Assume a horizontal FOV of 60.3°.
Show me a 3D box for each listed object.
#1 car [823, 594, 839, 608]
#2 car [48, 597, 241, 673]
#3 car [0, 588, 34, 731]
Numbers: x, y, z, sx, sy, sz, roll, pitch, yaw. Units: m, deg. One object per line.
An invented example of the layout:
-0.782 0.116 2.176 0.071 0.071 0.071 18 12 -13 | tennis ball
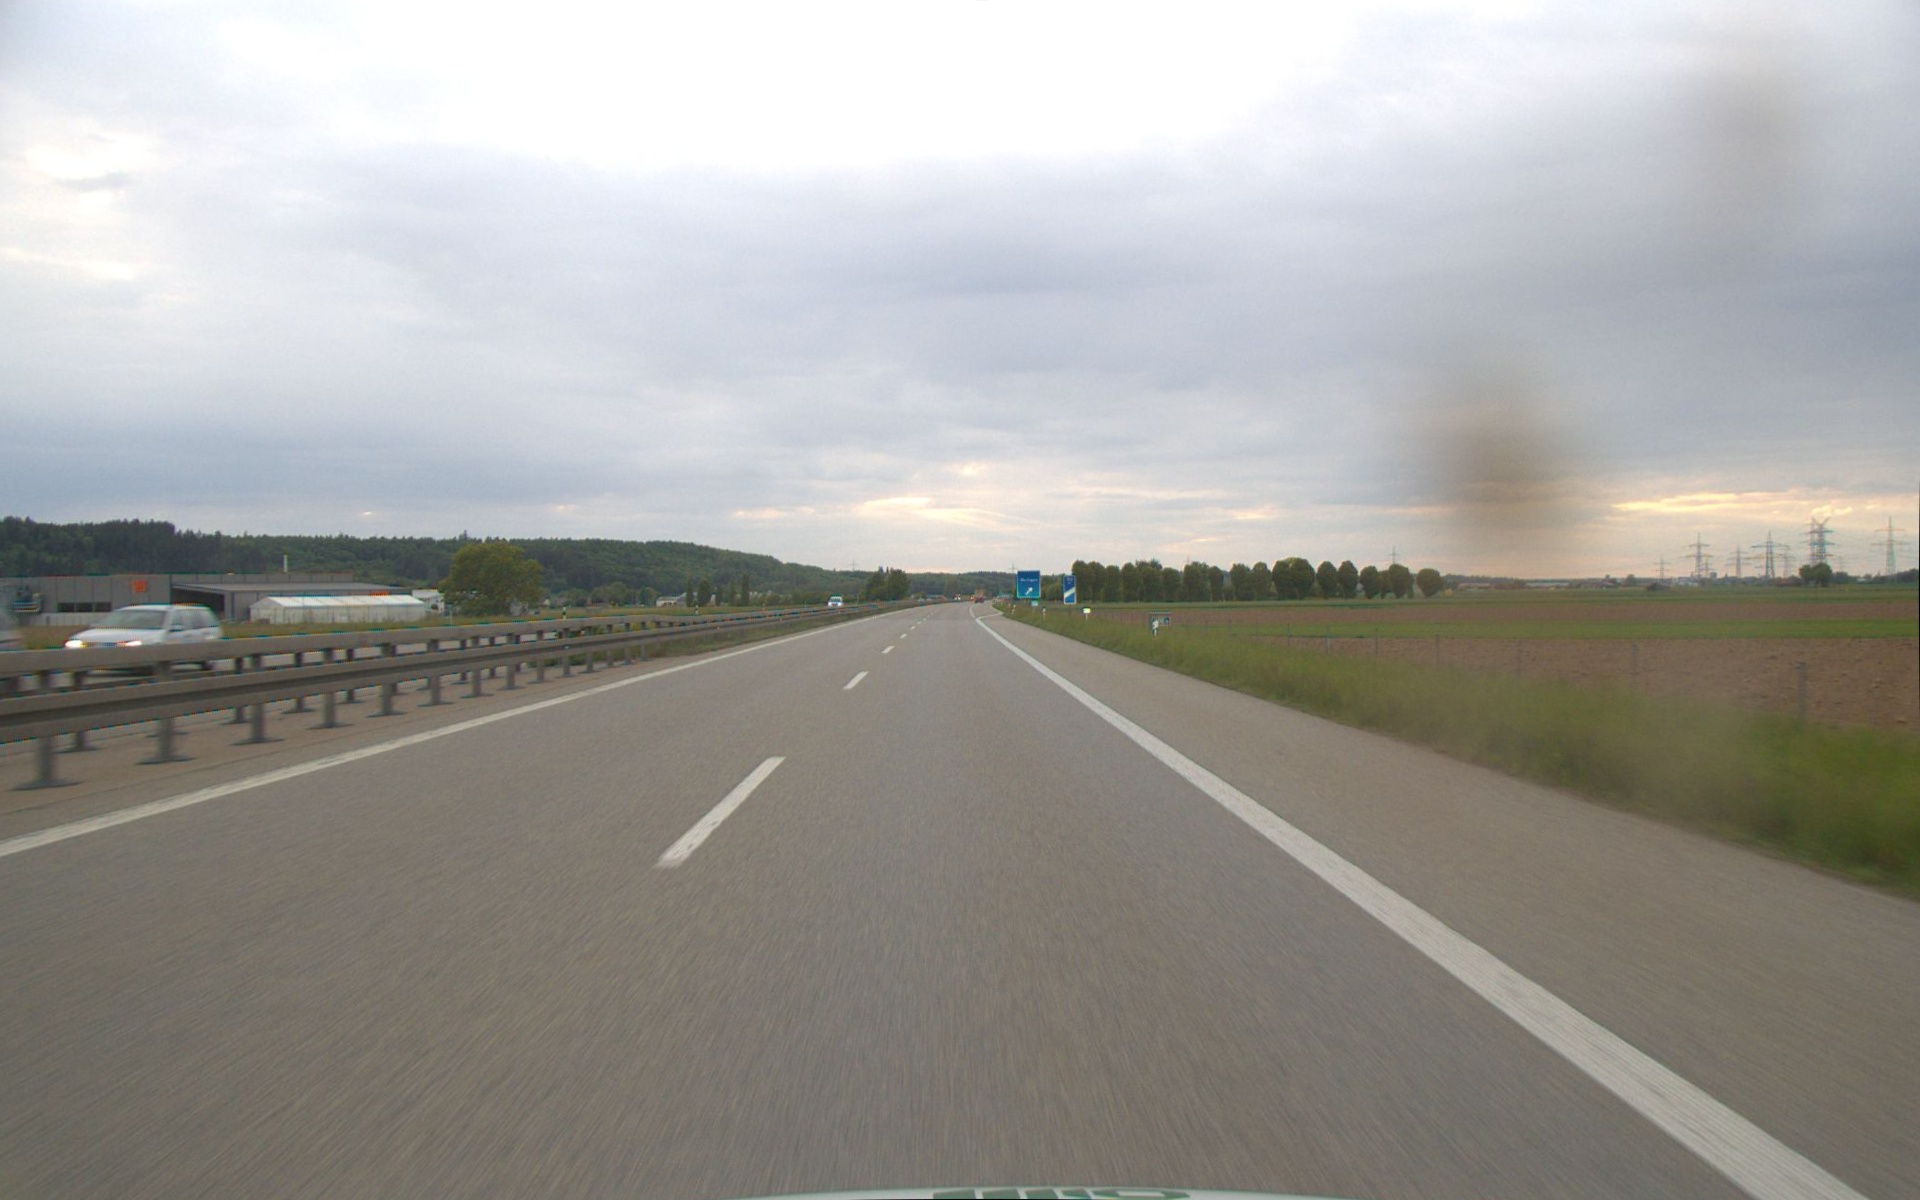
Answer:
-17.811 0.155 228.837 1.953 1.796 4.951 1 0 -1 | car
-17.552 0.706 35.892 1.953 1.522 4.761 0 0 -2 | car
-12.547 0.704 18.496 1.953 1.730 4.301 1 0 -1 | car
